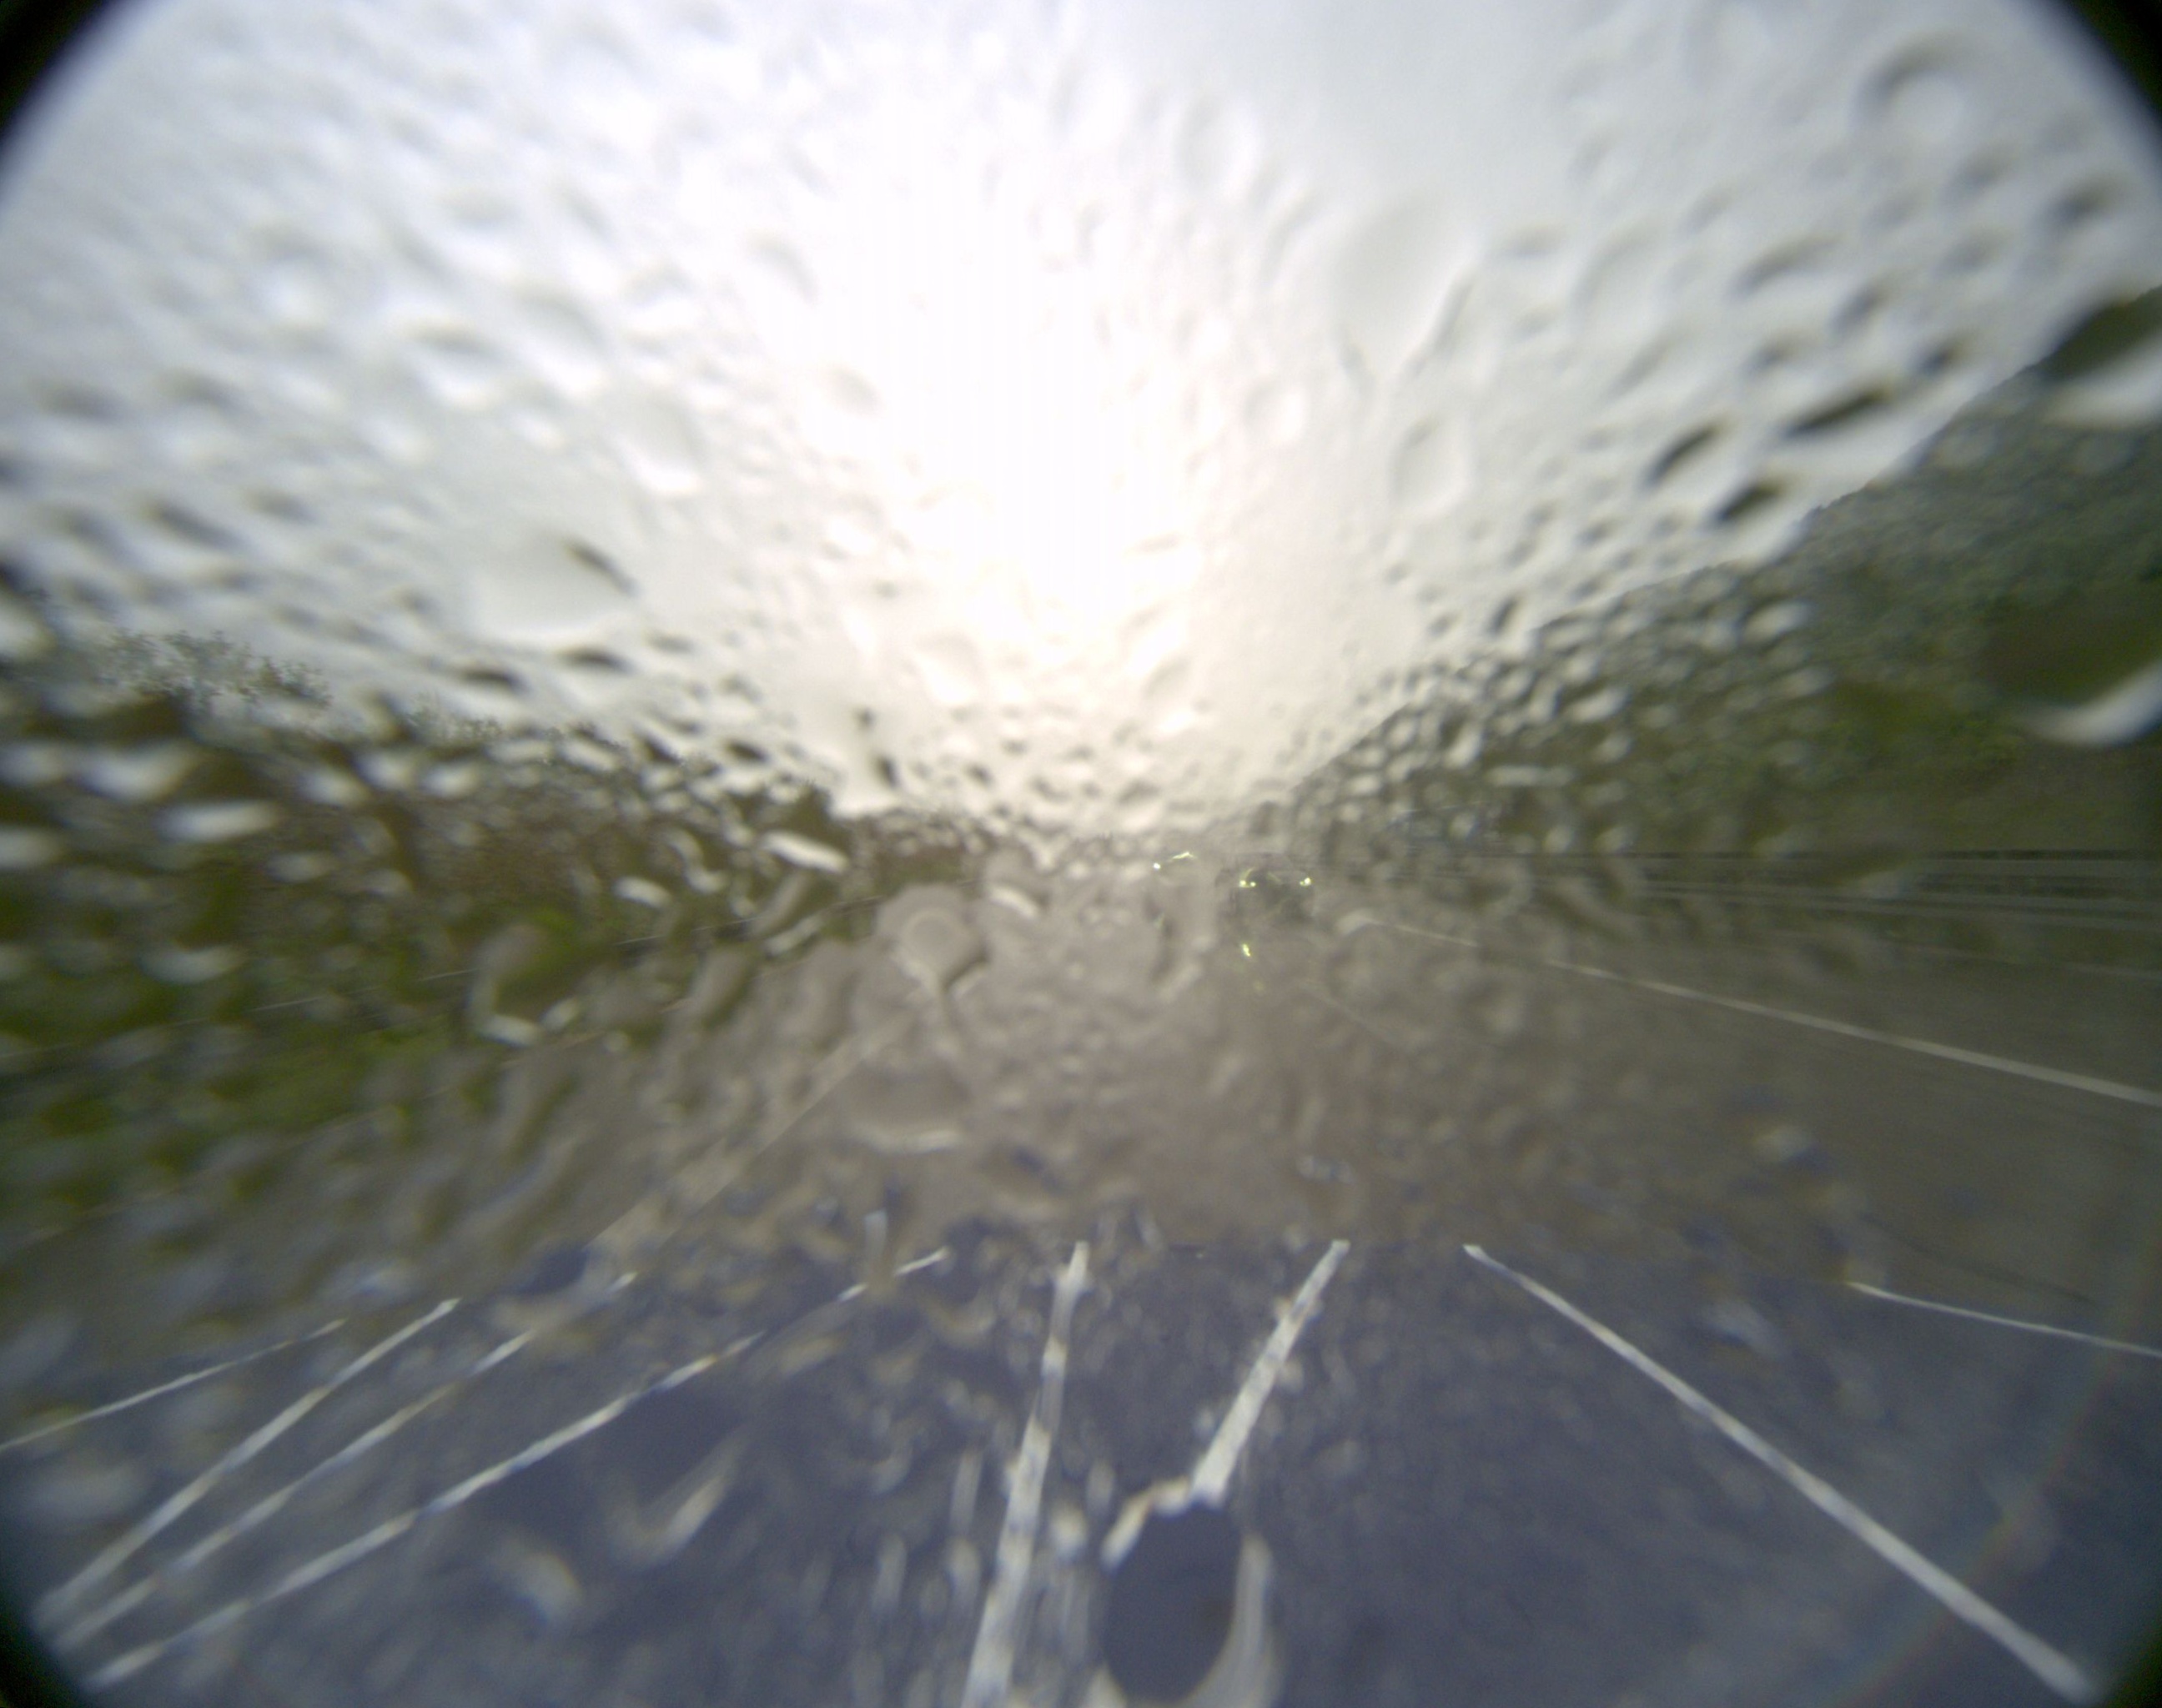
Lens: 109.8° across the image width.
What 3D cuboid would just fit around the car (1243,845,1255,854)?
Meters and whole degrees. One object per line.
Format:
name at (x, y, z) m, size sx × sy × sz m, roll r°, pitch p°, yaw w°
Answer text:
car at (34.575, -0.972, 156.387) m, size 1.998 × 1.849 × 4.001 m, roll -2°, pitch 0°, yaw 5°

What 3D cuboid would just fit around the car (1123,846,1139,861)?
car at (7.161, -0.111, 108.147) m, size 1.835 × 2.002 × 3.940 m, roll -4°, pitch 1°, yaw 7°

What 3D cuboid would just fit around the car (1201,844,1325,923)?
car at (4.496, 0.634, 19.569) m, size 1.998 × 1.673 × 4.908 m, roll -4°, pitch 1°, yaw 1°

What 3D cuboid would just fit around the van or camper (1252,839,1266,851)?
van or camper at (42.271, -2.143, 180.903) m, size 2.349 × 2.549 × 7.208 m, roll -2°, pitch 0°, yaw 6°

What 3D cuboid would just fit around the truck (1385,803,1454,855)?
truck at (25.511, -1.818, 57.611) m, size 2.786 × 3.662 × 6.208 m, roll -2°, pitch 0°, yaw 4°

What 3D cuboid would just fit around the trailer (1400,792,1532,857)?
trailer at (25.031, -1.750, 50.584) m, size 2.819 × 3.660 × 13.249 m, roll -2°, pitch 0°, yaw 4°

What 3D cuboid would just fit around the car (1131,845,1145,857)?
car at (10.046, -0.533, 134.148) m, size 1.998 × 2.001 × 4.001 m, roll -2°, pitch -1°, yaw 0°

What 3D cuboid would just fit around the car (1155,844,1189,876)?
car at (5.357, 0.335, 44.777) m, size 1.813 × 1.692 × 3.750 m, roll -3°, pitch 1°, yaw 7°
